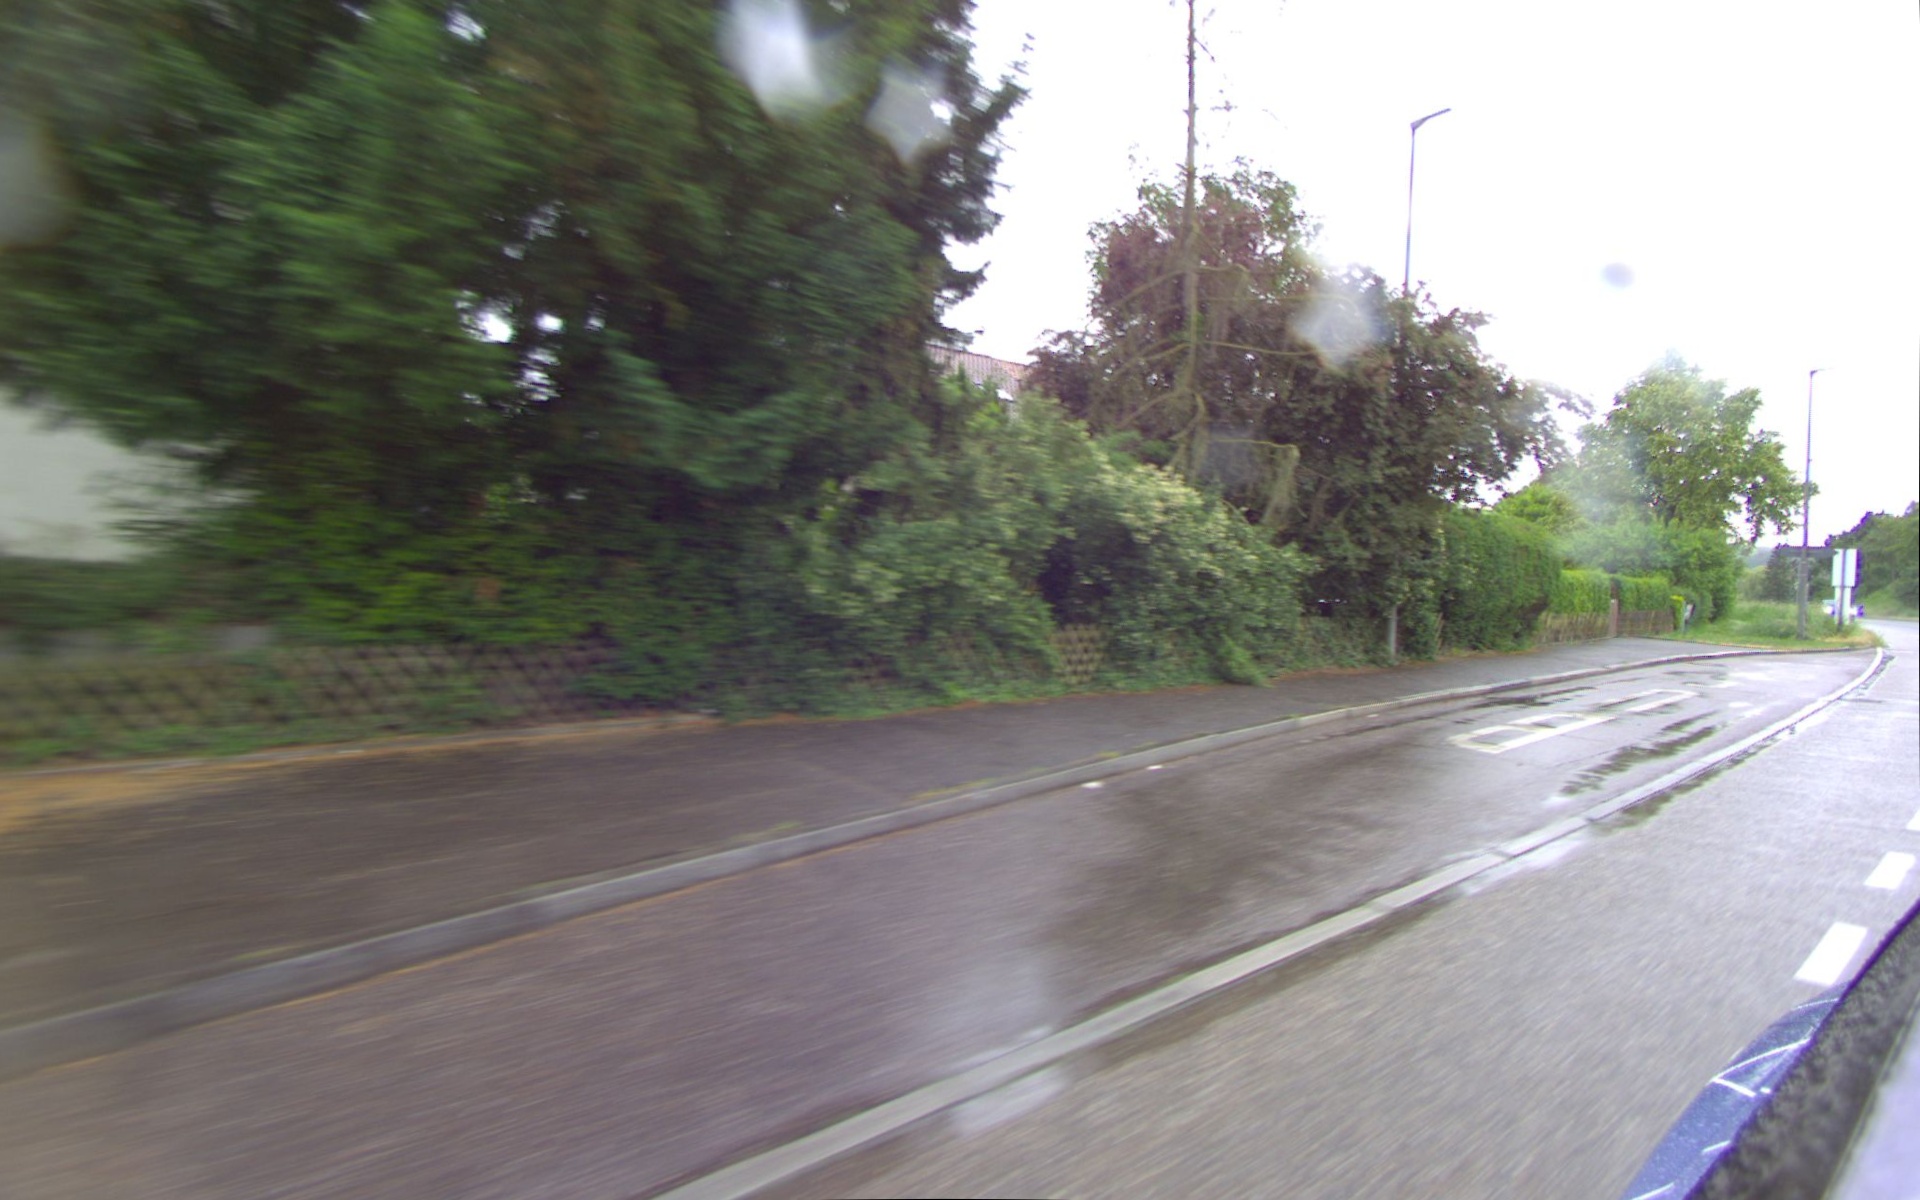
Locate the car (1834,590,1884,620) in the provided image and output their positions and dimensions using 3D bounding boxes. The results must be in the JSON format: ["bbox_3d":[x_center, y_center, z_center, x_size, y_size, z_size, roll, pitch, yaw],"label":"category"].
[{"bbox_3d":[61.968,0.325,69.852,1.987,1.864,3.951,3,2,34],"label":"car"}]
